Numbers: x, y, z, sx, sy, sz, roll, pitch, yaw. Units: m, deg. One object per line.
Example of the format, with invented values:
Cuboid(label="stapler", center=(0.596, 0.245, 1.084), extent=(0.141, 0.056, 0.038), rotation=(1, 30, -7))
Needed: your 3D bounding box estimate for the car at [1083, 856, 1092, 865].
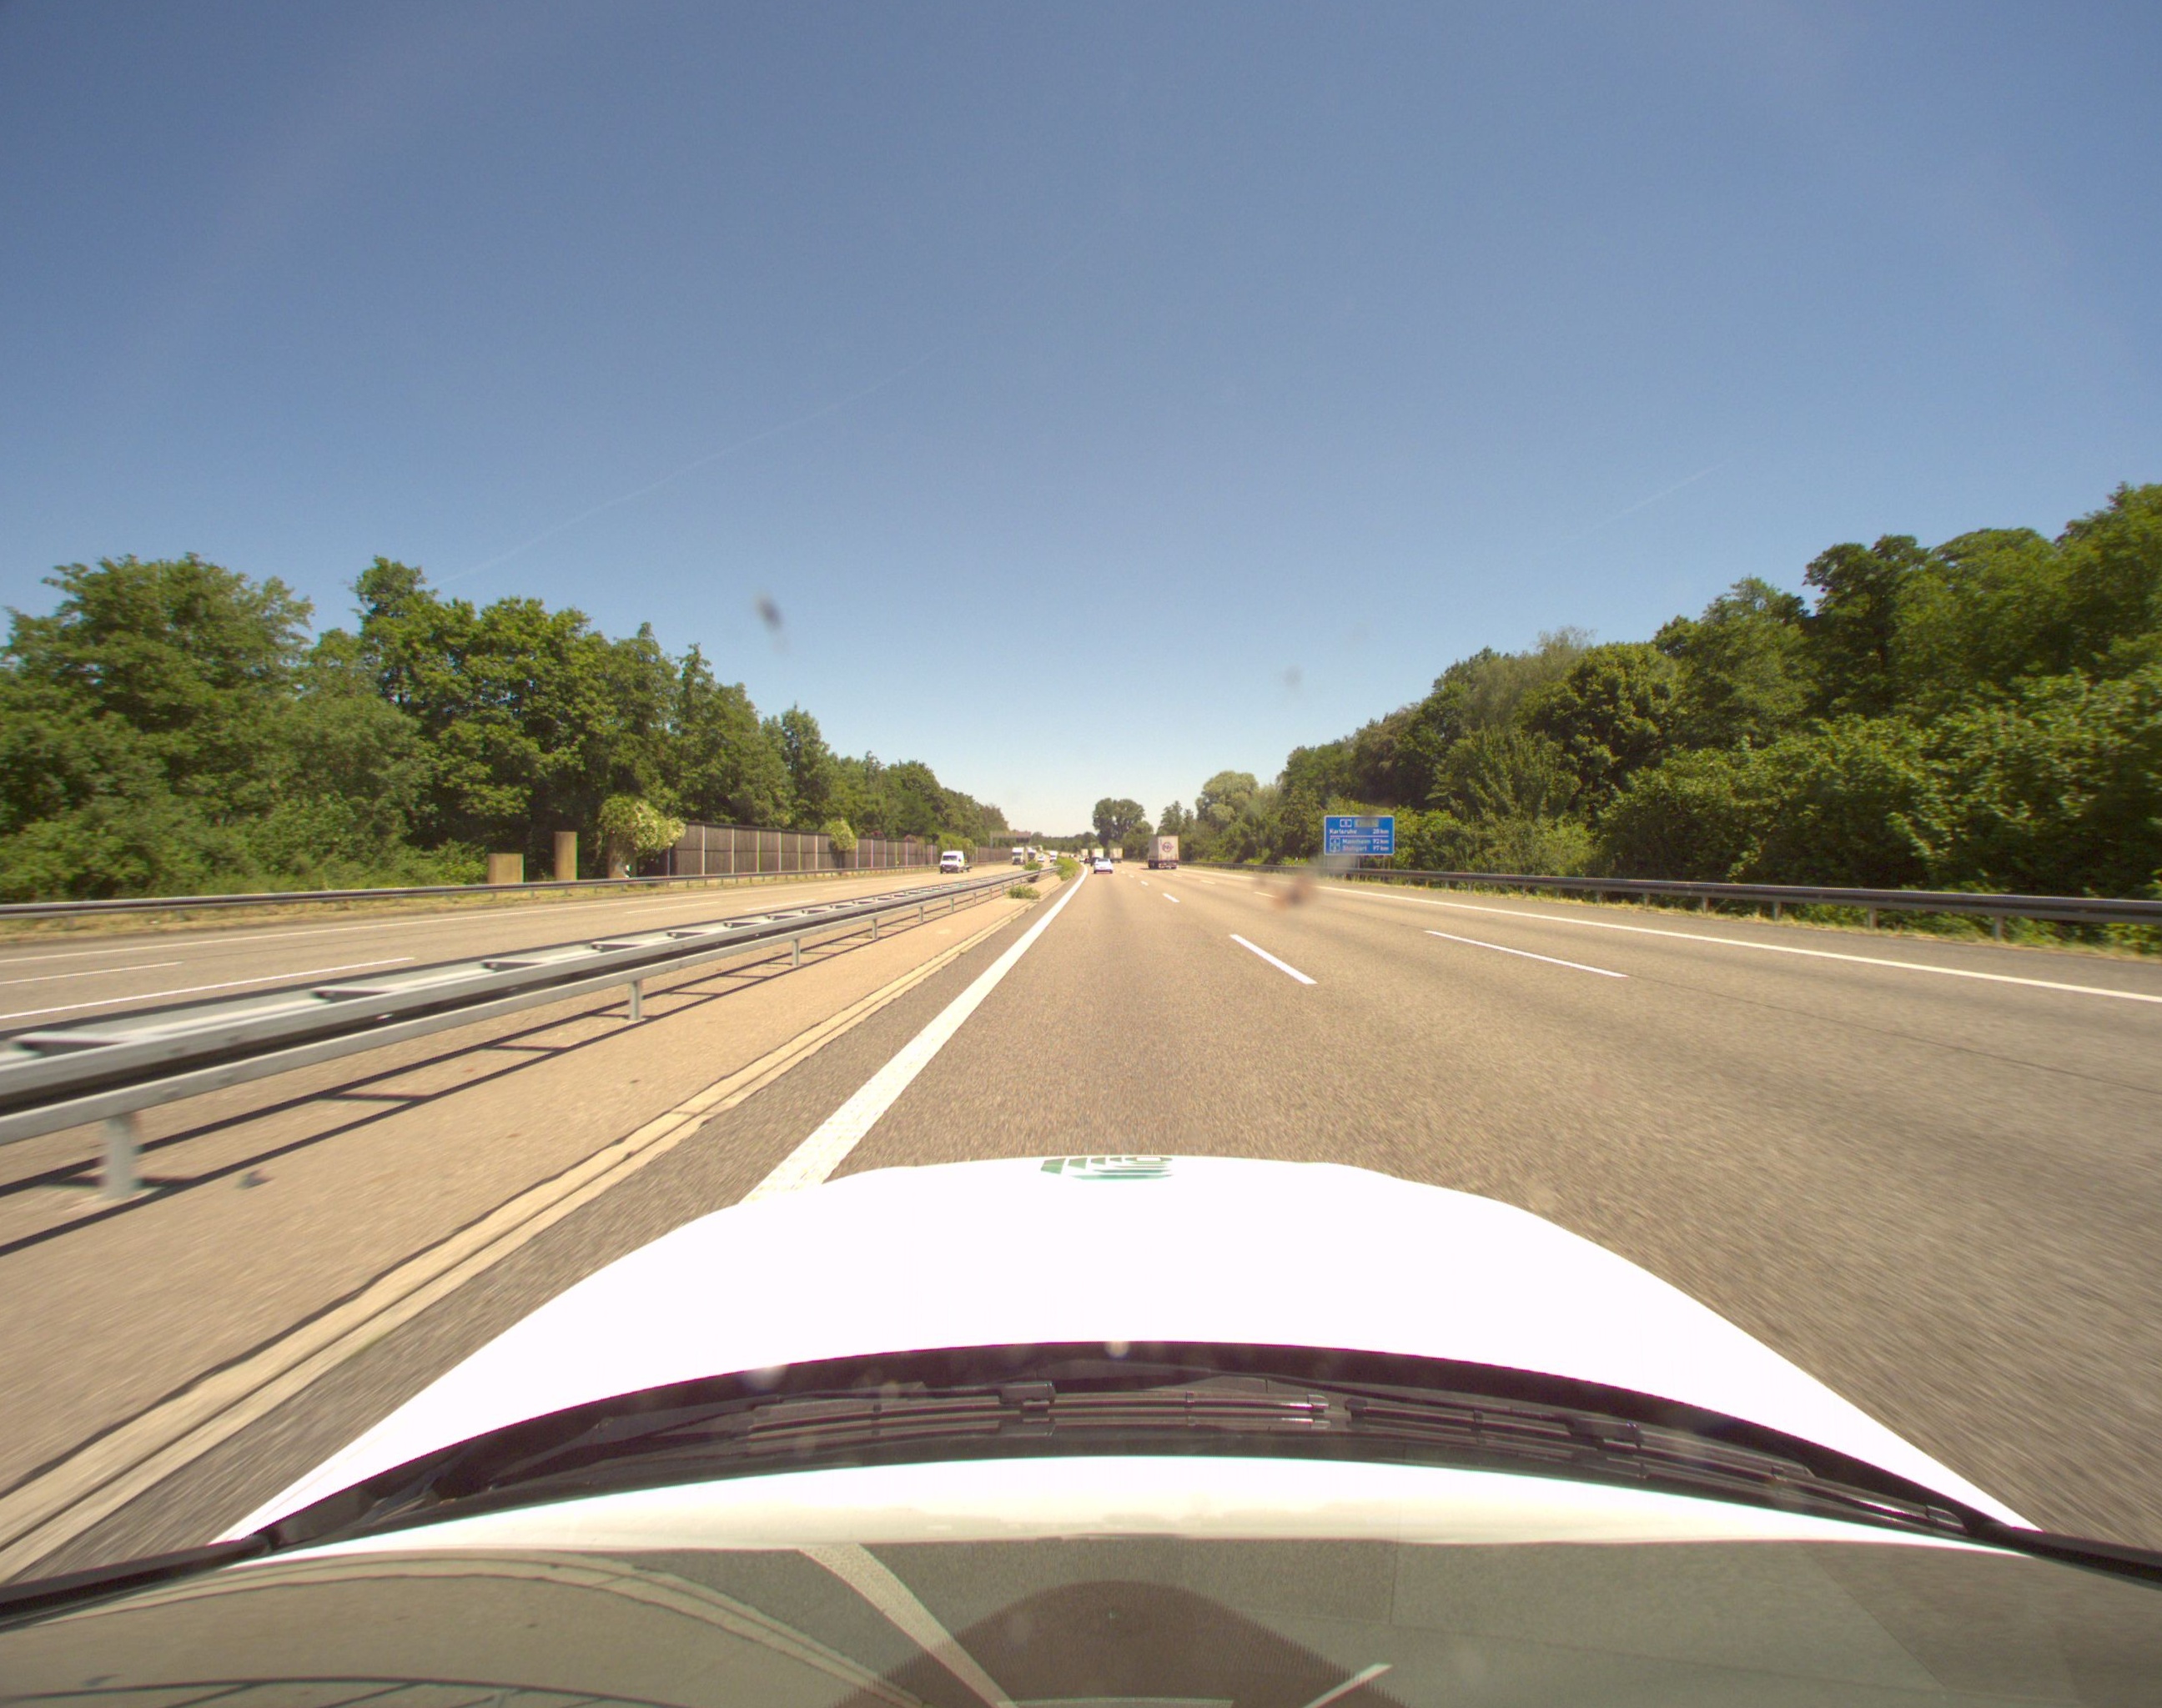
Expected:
Cuboid(label="car", center=(1.525, 1.621, 199.269), extent=(1.989, 2.013, 3.995), rotation=(-1, 0, -4))

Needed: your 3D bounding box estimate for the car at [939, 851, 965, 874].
Cuboid(label="car", center=(-14.615, 0.936, 92.567), extent=(2.016, 2.431, 5.414), rotation=(-1, 0, 1))

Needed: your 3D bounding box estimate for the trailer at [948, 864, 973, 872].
Cuboid(label="trailer", center=(-14.511, 1.678, 98.453), extent=(2.154, 0.807, 6.280), rotation=(-1, 0, 0))

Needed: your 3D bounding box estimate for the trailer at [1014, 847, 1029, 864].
Cuboid(label="trailer", center=(-14.617, 0.335, 200.312), extent=(2.720, 3.909, 13.759), rotation=(-1, 0, 0))

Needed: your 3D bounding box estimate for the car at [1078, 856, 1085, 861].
Cuboid(label="car", center=(0.105, 1.384, 251.984), extent=(1.720, 1.783, 3.995), rotation=(-1, 0, -3))

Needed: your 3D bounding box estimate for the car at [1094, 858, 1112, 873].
Cuboid(label="car", center=(2.148, 1.113, 78.879), extent=(1.709, 1.369, 3.375), rotation=(-1, 0, 1))

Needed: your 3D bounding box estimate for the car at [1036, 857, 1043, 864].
Cuboid(label="car", center=(-12.550, 1.973, 247.941), extent=(1.862, 1.820, 4.816), rotation=(-1, 0, 0))

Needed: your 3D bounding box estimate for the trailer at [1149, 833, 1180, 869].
Cuboid(label="trailer", center=(10.470, -0.311, 103.763), extent=(2.615, 4.261, 14.060), rotation=(-1, 0, 1))

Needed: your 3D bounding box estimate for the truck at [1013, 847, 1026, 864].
Cuboid(label="truck", center=(-14.650, 0.330, 193.721), extent=(2.678, 3.895, 5.572), rotation=(-1, 0, 0))

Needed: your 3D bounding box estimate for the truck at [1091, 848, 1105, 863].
Cuboid(label="truck", center=(4.824, 0.376, 235.886), extent=(3.352, 4.311, 10.817), rotation=(-1, 0, -3))

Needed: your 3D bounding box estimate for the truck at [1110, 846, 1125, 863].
Cuboid(label="truck", center=(9.791, 0.215, 219.214), extent=(3.482, 4.311, 10.982), rotation=(-1, 0, -1))

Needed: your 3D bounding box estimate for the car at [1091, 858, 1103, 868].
Cuboid(label="car", center=(2.960, 1.573, 151.190), extent=(1.989, 1.772, 3.996), rotation=(-1, 0, -3))

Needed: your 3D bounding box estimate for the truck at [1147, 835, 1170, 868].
Cuboid(label="truck", center=(10.535, -0.354, 110.838), extent=(2.597, 4.287, 5.435), rotation=(-1, 0, 0))

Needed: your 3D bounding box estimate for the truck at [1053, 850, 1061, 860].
Cuboid(label="truck", center=(-7.087, 0.296, 242.634), extent=(2.186, 3.114, 8.532), rotation=(-1, 0, 0))
